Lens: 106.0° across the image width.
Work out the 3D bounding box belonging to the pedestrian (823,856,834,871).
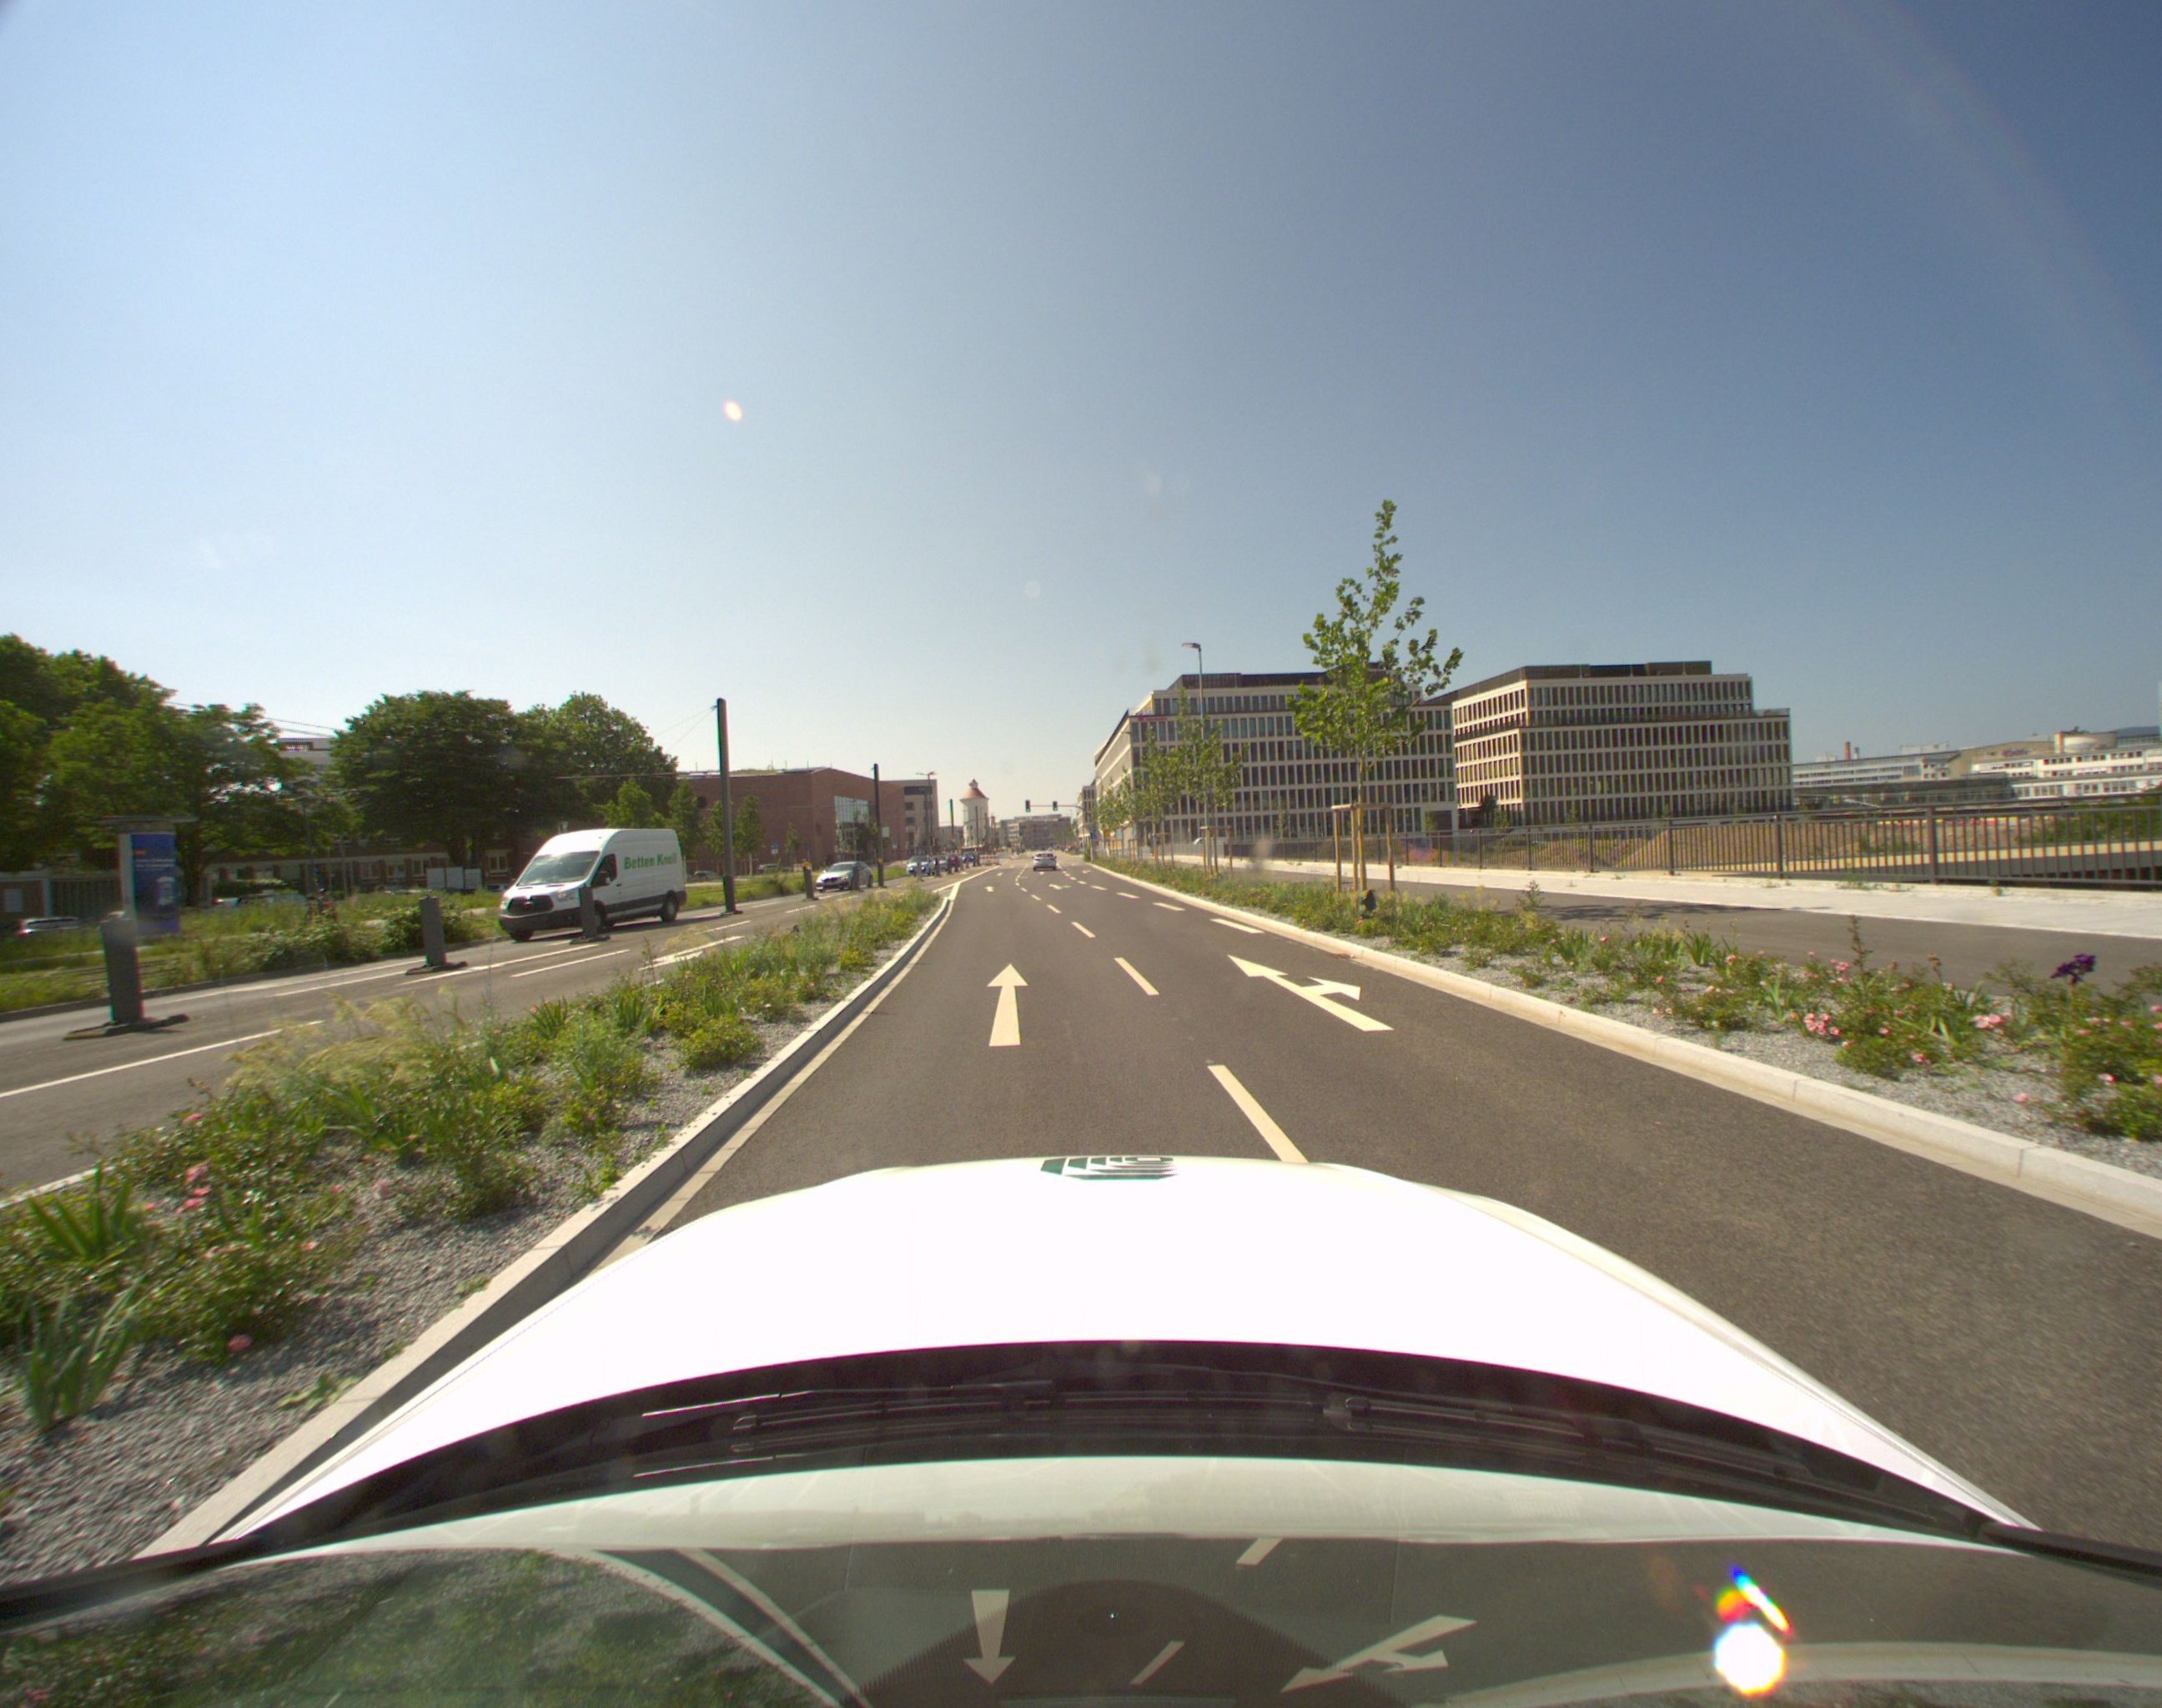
[{"bbox_3d":[-31.339,1.166,101.151,0.808,1.846,1.108,-2,0,3],"label":"pedestrian"}]

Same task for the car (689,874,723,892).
[{"bbox_3d":[-40.009,3.050,87.000,1.694,1.761,4.297,-2,0,-2],"label":"car"}]

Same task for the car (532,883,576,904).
[{"bbox_3d":[-44.420,3.303,68.694,1.537,1.457,3.779,-2,0,-7],"label":"car"}]

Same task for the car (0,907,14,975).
[{"bbox_3d":[-37.731,2.944,26.713,5.014,2.179,2.126,-3,0,24],"label":"car"}]

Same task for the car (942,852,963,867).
[{"bbox_3d":[-13.178,0.559,83.527,1.576,1.416,3.996,-4,0,-2],"label":"car"}]

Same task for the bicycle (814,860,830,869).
[{"bbox_3d":[-36.526,1.531,114.981,2.054,1.212,0.537,-2,0,-14],"label":"bicycle"}]

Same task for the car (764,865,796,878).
[{"bbox_3d":[-38.446,2.230,104.030,3.471,1.369,1.571,-2,1,-4],"label":"car"}]

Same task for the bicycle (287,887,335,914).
[{"bbox_3d":[-31.213,1.869,33.039,0.458,0.985,1.557,-2,0,1],"label":"bicycle"}]

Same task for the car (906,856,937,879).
[{"bbox_3d":[-11.853,1.013,60.792,1.576,1.530,3.617,-5,0,-2],"label":"car"}]

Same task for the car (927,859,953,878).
[{"bbox_3d":[-12.427,1.259,71.926,1.576,1.416,4.293,-4,0,-2],"label":"car"}]

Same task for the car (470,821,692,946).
[{"bbox_3d":[-12.975,0.667,21.798,2.071,2.739,5.984,-5,0,0],"label":"car"}]

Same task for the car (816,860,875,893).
[{"bbox_3d":[-12.162,1.112,42.383,1.668,1.443,4.468,-5,0,0],"label":"car"}]

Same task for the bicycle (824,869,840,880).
[{"bbox_3d":[-36.549,2.963,119.617,2.054,1.453,0.537,-3,1,-14],"label":"bicycle"}]

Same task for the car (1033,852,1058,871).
[{"bbox_3d":[-2.718,0.592,63.413,1.766,1.395,3.530,-1,-1,-1],"label":"car"}]

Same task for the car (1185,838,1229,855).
[{"bbox_3d":[17.550,-1.078,113.390,5.823,2.270,2.144,-1,0,-3],"label":"car"}]

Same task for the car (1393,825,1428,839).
[{"bbox_3d":[40.520,-2.735,100.163,3.673,1.593,1.655,-2,1,-3],"label":"car"}]

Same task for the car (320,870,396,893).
[{"bbox_3d":[-51.580,1.942,58.169,3.752,1.457,1.533,-2,0,-20],"label":"car"}]

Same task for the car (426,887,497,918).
[{"bbox_3d":[-37.158,2.877,48.978,1.766,1.590,3.628,-1,0,-7],"label":"car"}]

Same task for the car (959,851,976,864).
[{"bbox_3d":[-14.136,0.443,101.543,1.625,1.427,4.284,-4,1,-4],"label":"car"}]
